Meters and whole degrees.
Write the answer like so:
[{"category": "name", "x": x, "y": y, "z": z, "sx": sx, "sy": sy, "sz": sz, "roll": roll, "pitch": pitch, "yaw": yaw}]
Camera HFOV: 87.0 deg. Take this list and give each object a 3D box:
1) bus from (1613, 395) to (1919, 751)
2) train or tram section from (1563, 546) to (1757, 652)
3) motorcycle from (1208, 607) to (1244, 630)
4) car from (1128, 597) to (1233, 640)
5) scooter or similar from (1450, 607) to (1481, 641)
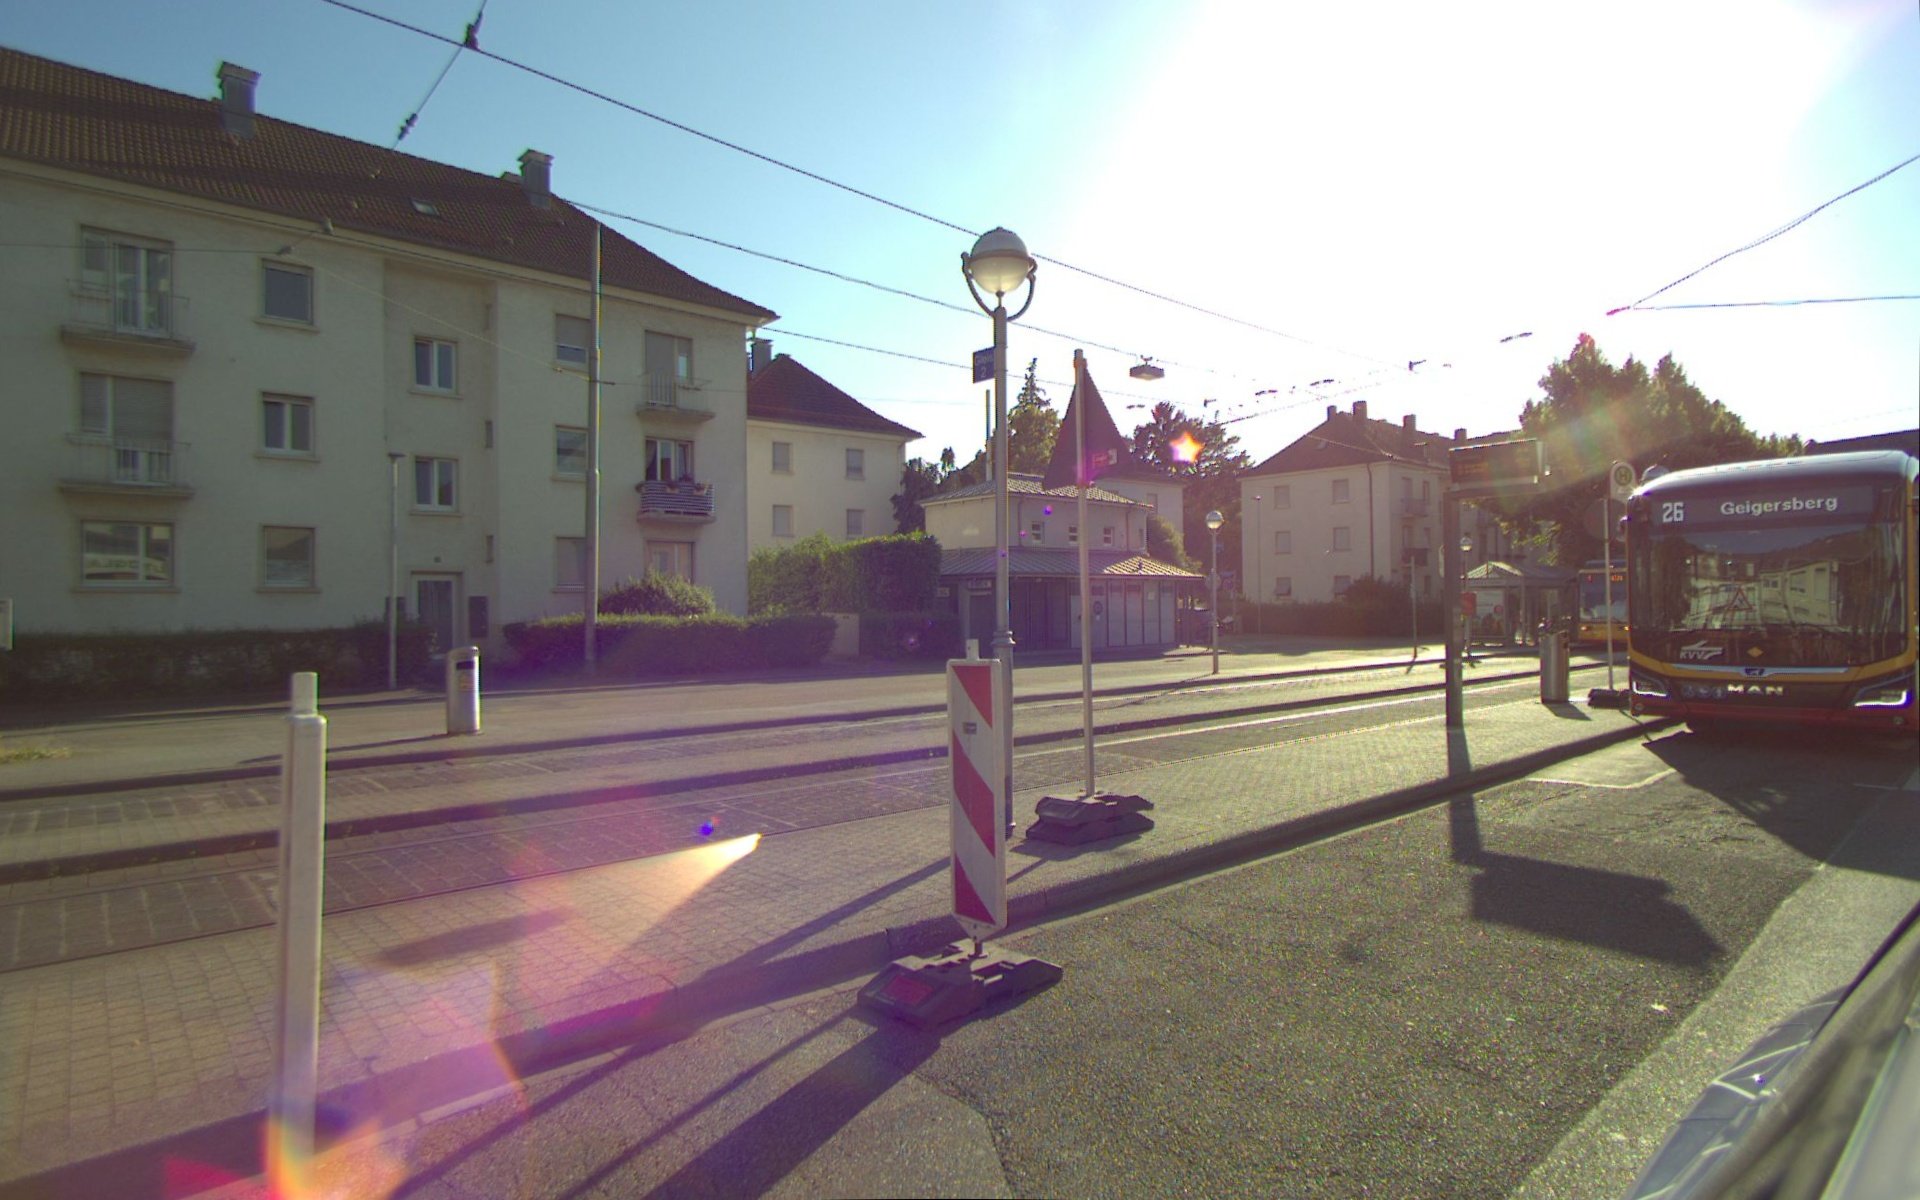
[{"category": "bus", "x": 12.901, "y": -0.254, "z": 14.730, "sx": 11.811, "sy": 3.460, "sz": 2.692, "roll": 0, "pitch": -1, "yaw": -42}, {"category": "train or tram section", "x": 28.533, "y": -0.234, "z": 40.681, "sx": 15.699, "sy": 3.578, "sz": 2.961, "roll": -2, "pitch": 1, "yaw": -42}, {"category": "motorcycle", "x": 14.139, "y": 0.986, "z": 53.901, "sx": 0.549, "sy": 1.177, "sz": 1.823, "roll": 0, "pitch": -1, "yaw": -43}, {"category": "car", "x": 9.913, "y": 0.787, "z": 45.724, "sx": 1.963, "sy": 1.791, "sz": 4.451, "roll": 0, "pitch": 1, "yaw": -37}, {"category": "scooter or similar", "x": 19.061, "y": 0.892, "z": 38.175, "sx": 1.185, "sy": 1.223, "sz": 0.468, "roll": 0, "pitch": -1, "yaw": -30}]
